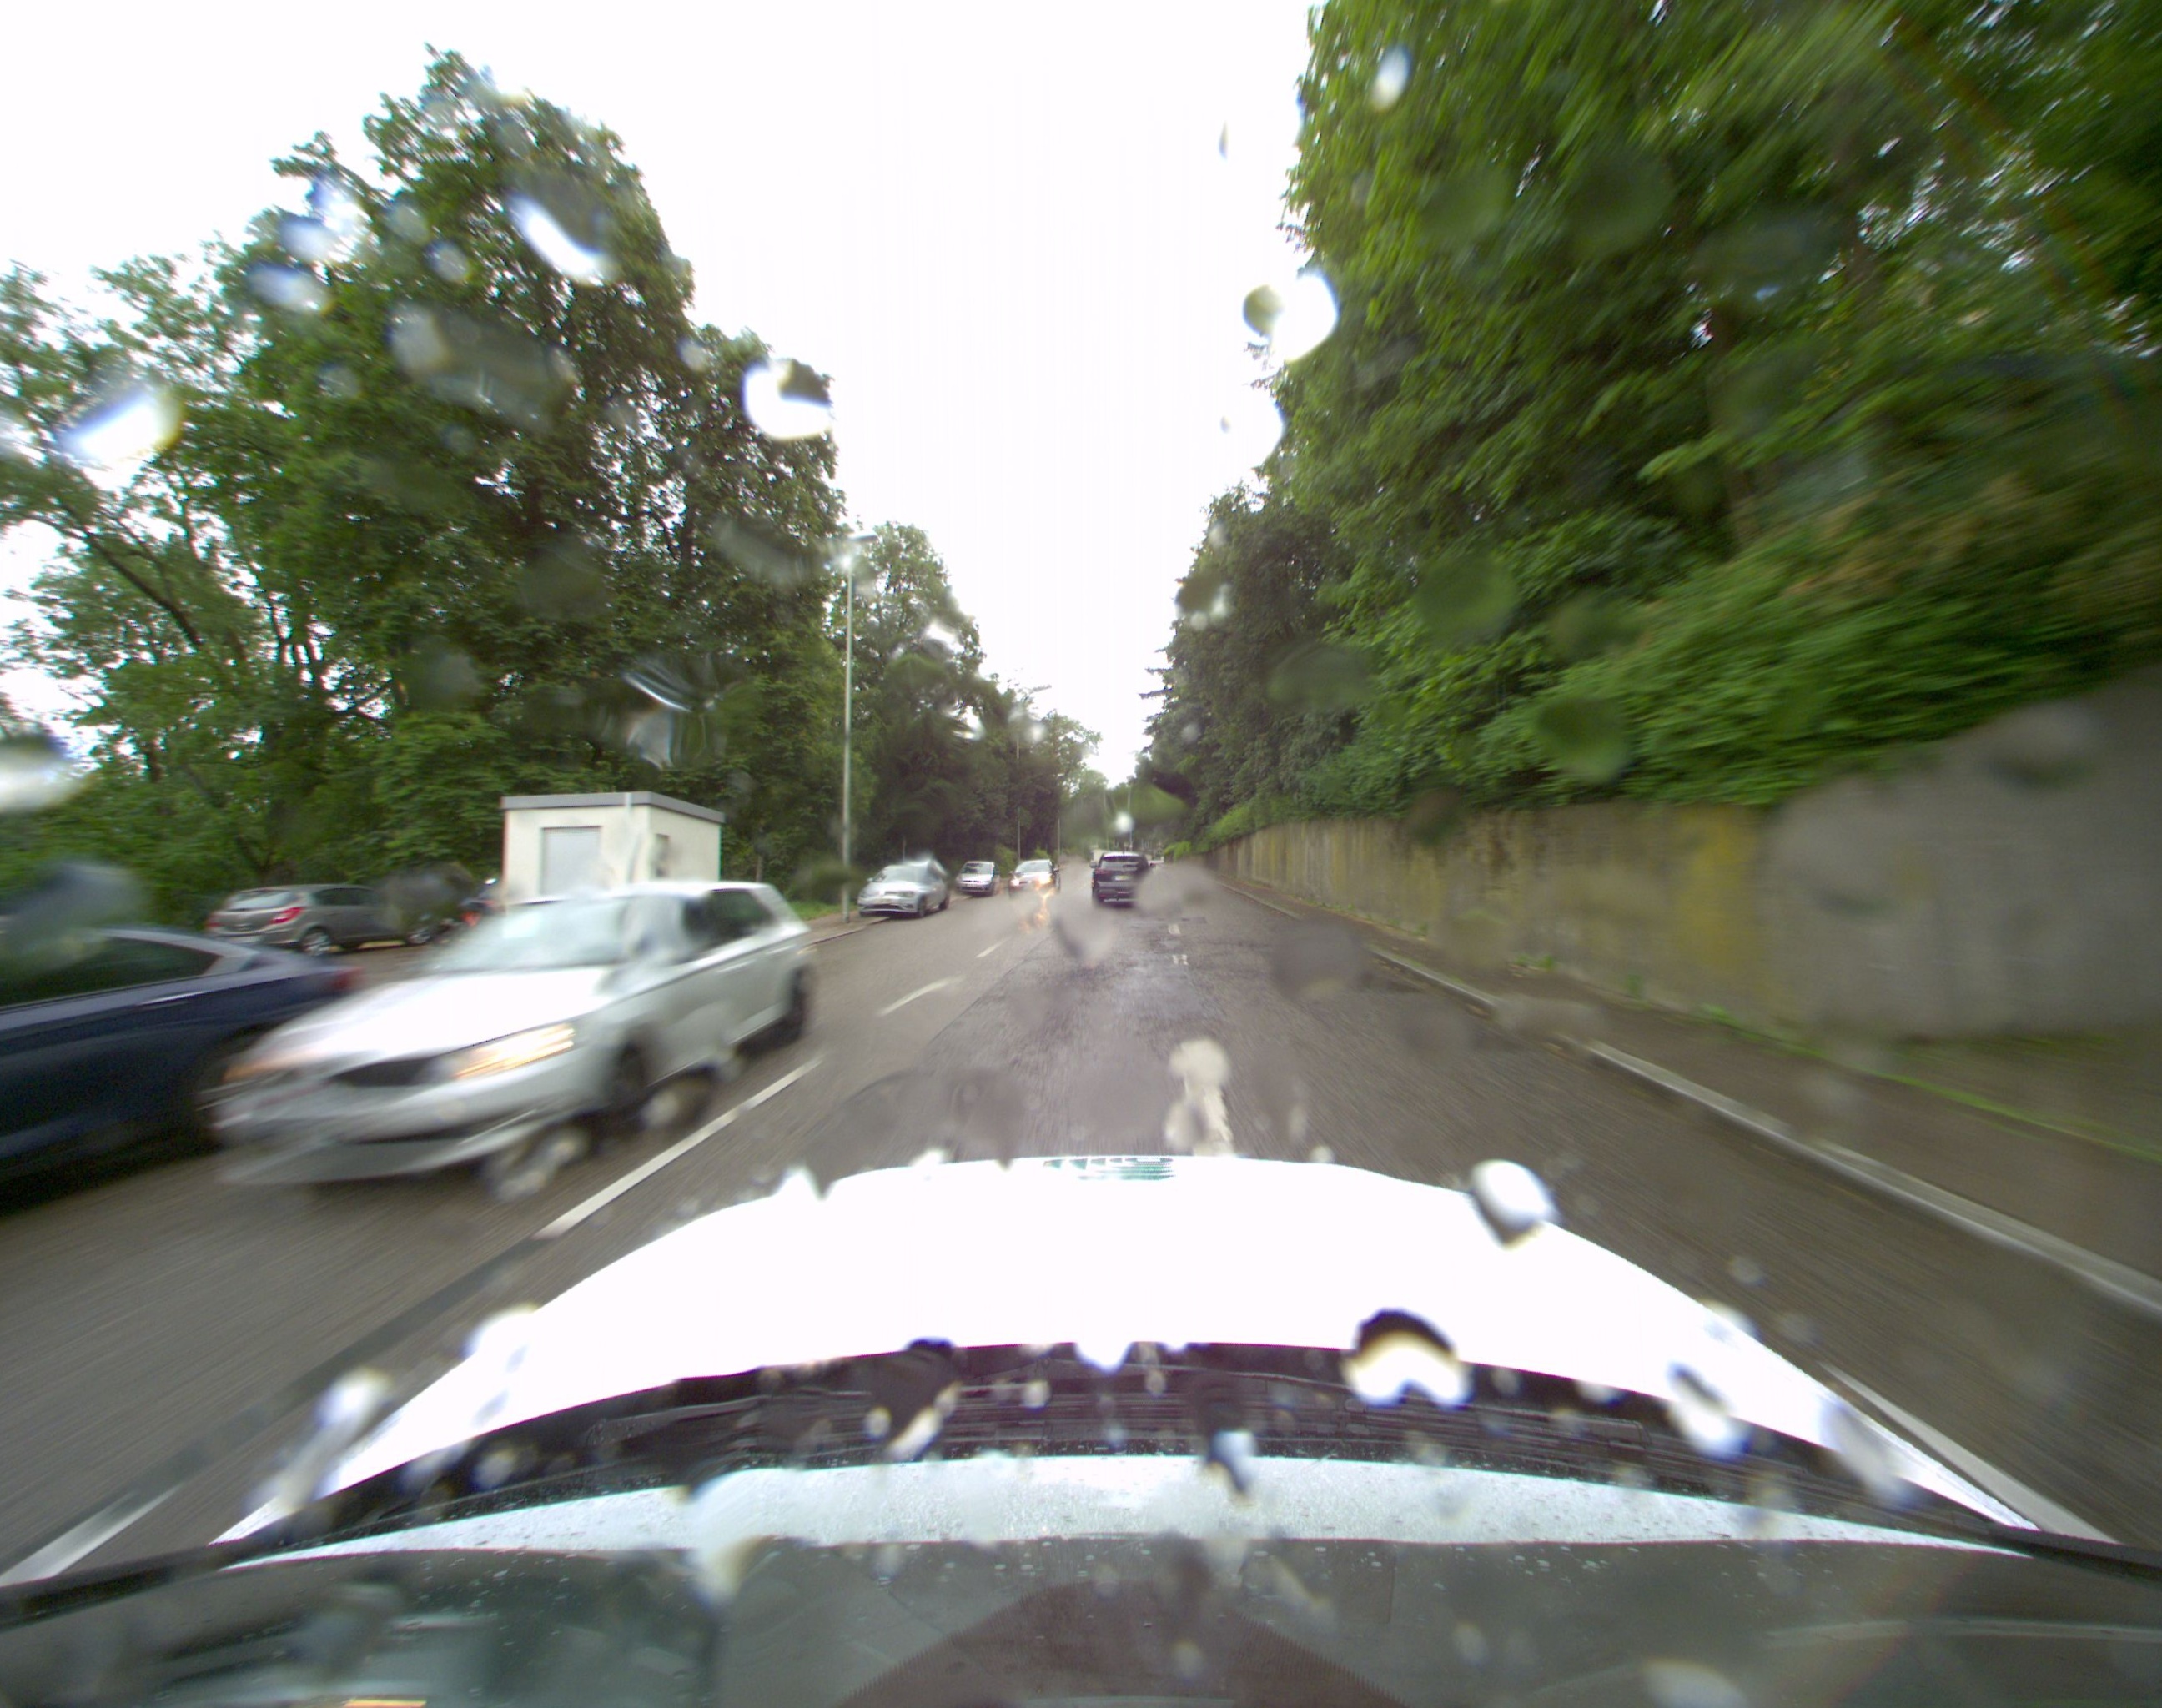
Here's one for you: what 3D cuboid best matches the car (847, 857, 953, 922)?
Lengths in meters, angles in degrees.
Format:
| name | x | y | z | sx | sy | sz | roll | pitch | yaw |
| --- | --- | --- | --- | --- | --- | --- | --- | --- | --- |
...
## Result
| name | x | y | z | sx | sy | sz | roll | pitch | yaw |
| --- | --- | --- | --- | --- | --- | --- | --- | --- | --- |
| car | -5.268 | 0.967 | 24.268 | 1.878 | 1.611 | 4.243 | -4 | 0 | 3 |

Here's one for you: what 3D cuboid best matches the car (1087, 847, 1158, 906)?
| name | x | y | z | sx | sy | sz | roll | pitch | yaw |
| --- | --- | --- | --- | --- | --- | --- | --- | --- | --- |
| car | 1.250 | 0.624 | 24.654 | 1.920 | 1.613 | 4.003 | -1 | 0 | 3 |

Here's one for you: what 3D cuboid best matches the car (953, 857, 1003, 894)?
| name | x | y | z | sx | sy | sz | roll | pitch | yaw |
| --- | --- | --- | --- | --- | --- | --- | --- | --- | --- |
| car | -4.475 | 0.909 | 35.875 | 1.620 | 1.499 | 3.928 | 0 | 0 | 0 |

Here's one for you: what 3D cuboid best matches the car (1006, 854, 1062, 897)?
| name | x | y | z | sx | sy | sz | roll | pitch | yaw |
| --- | --- | --- | --- | --- | --- | --- | --- | --- | --- |
| car | -1.801 | 0.779 | 32.104 | 1.754 | 1.491 | 4.002 | -3 | 0 | 2 |

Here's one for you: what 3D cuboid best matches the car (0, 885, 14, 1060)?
| name | x | y | z | sx | sy | sz | roll | pitch | yaw |
| --- | --- | --- | --- | --- | --- | --- | --- | --- | --- |
| car | -10.030 | 1.028 | 4.726 | 1.715 | 1.458 | 4.401 | -2 | 0 | 3 |

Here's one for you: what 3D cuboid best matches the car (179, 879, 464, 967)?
| name | x | y | z | sx | sy | sz | roll | pitch | yaw |
| --- | --- | --- | --- | --- | --- | --- | --- | --- | --- |
| car | -15.917 | 1.359 | 17.484 | 1.939 | 1.458 | 4.396 | -2 | 0 | 0 |

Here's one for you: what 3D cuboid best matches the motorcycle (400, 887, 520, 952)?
| name | x | y | z | sx | sy | sz | roll | pitch | yaw |
| --- | --- | --- | --- | --- | --- | --- | --- | --- | --- |
| motorcycle | -13.225 | 1.352 | 17.449 | 0.597 | 1.188 | 2.282 | -2 | 0 | 6 |

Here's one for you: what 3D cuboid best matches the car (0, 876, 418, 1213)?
| name | x | y | z | sx | sy | sz | roll | pitch | yaw |
| --- | --- | --- | --- | --- | --- | --- | --- | --- | --- |
| car | -5.978 | 0.999 | 3.645 | 1.852 | 1.493 | 4.759 | -5 | 0 | 2 |

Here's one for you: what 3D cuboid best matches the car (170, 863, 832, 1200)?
| name | x | y | z | sx | sy | sz | roll | pitch | yaw |
| --- | --- | --- | --- | --- | --- | --- | --- | --- | --- |
| car | -3.371 | 0.869 | 5.832 | 1.718 | 1.435 | 3.915 | -4 | 0 | 2 |
